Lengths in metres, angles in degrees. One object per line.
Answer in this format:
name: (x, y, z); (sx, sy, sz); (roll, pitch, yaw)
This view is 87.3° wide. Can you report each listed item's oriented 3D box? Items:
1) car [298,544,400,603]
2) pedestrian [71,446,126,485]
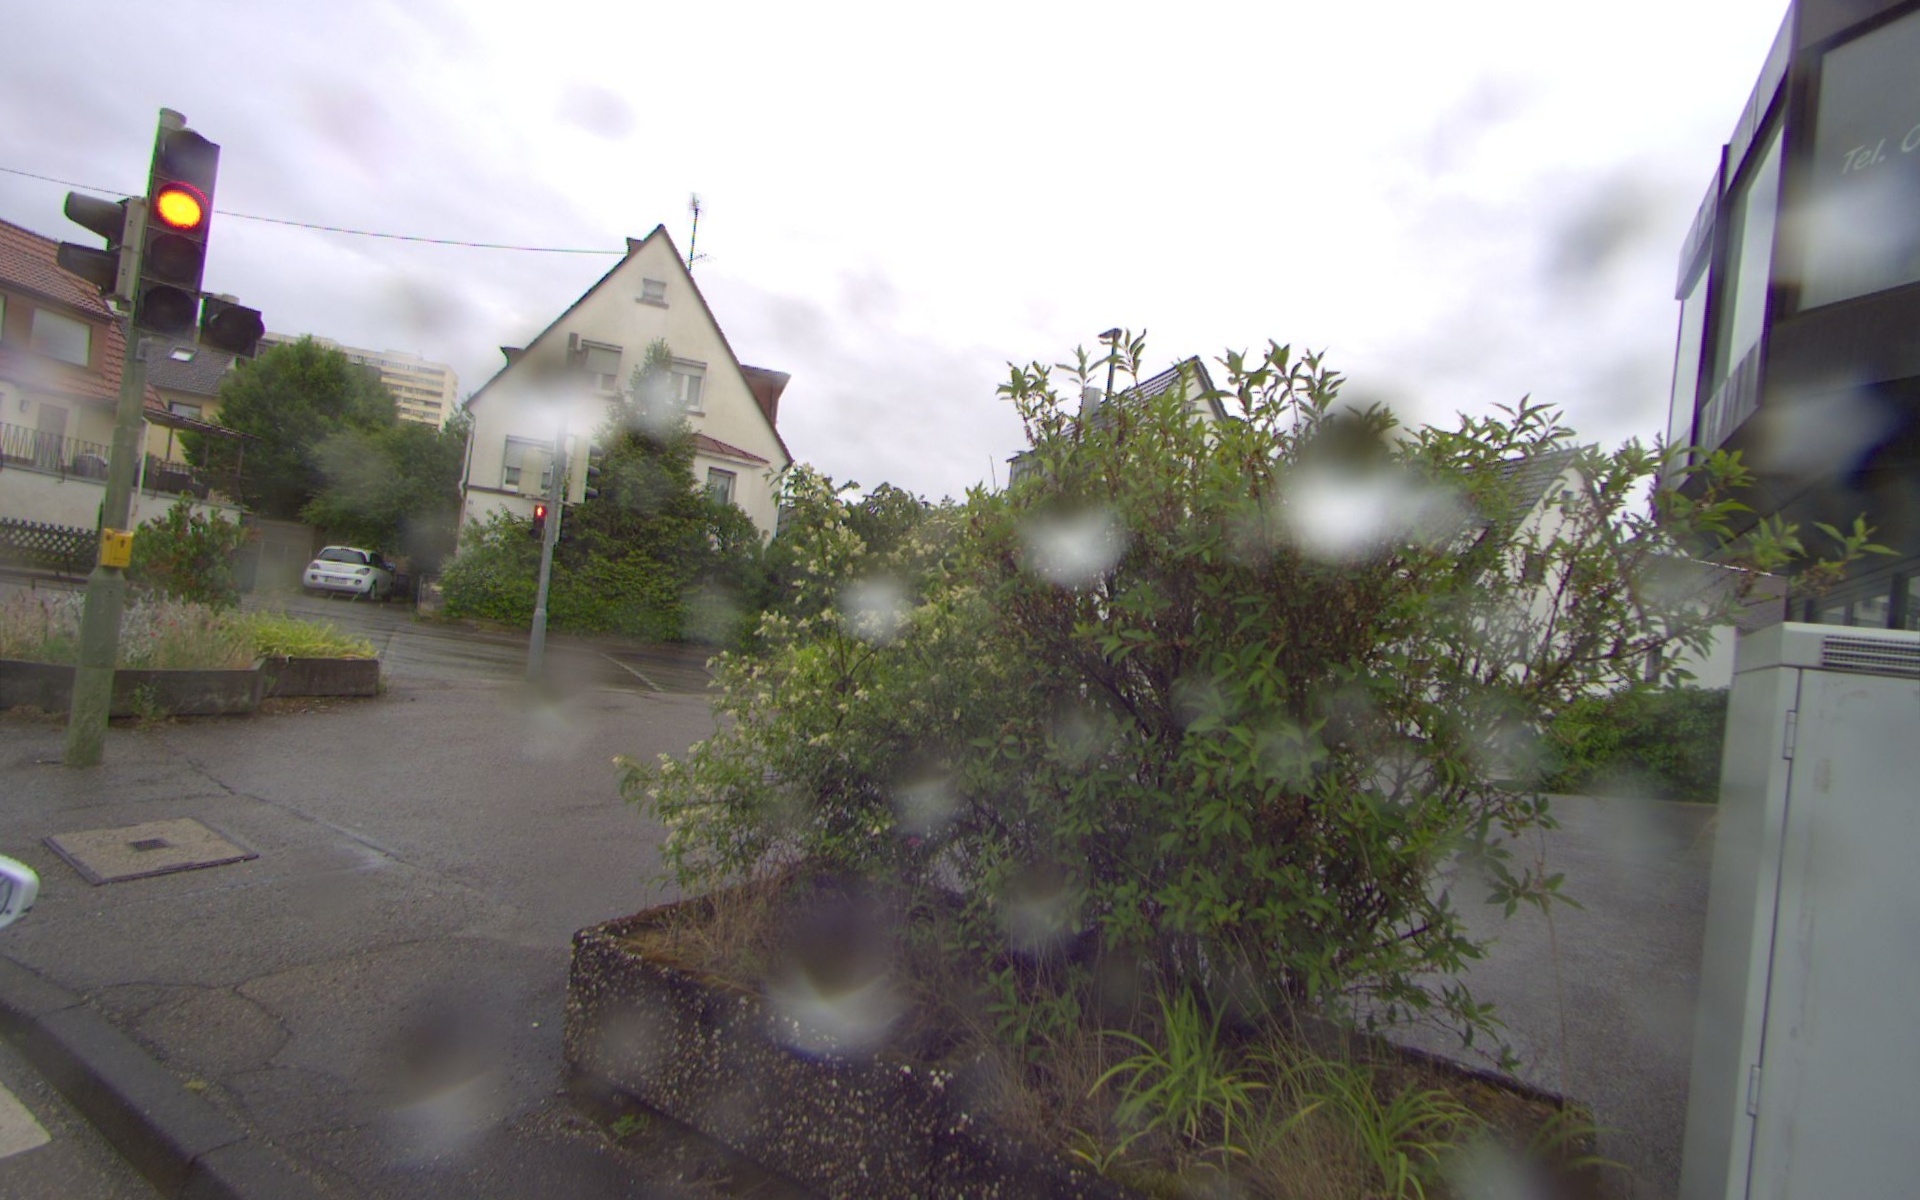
car: (-17.757, -0.741, 29.419); (1.794, 1.378, 3.981); (8, -2, -22)
pedestrian: (-24.273, -3.798, 28.368); (0.623, 0.893, 0.920); (5, -2, 13)
